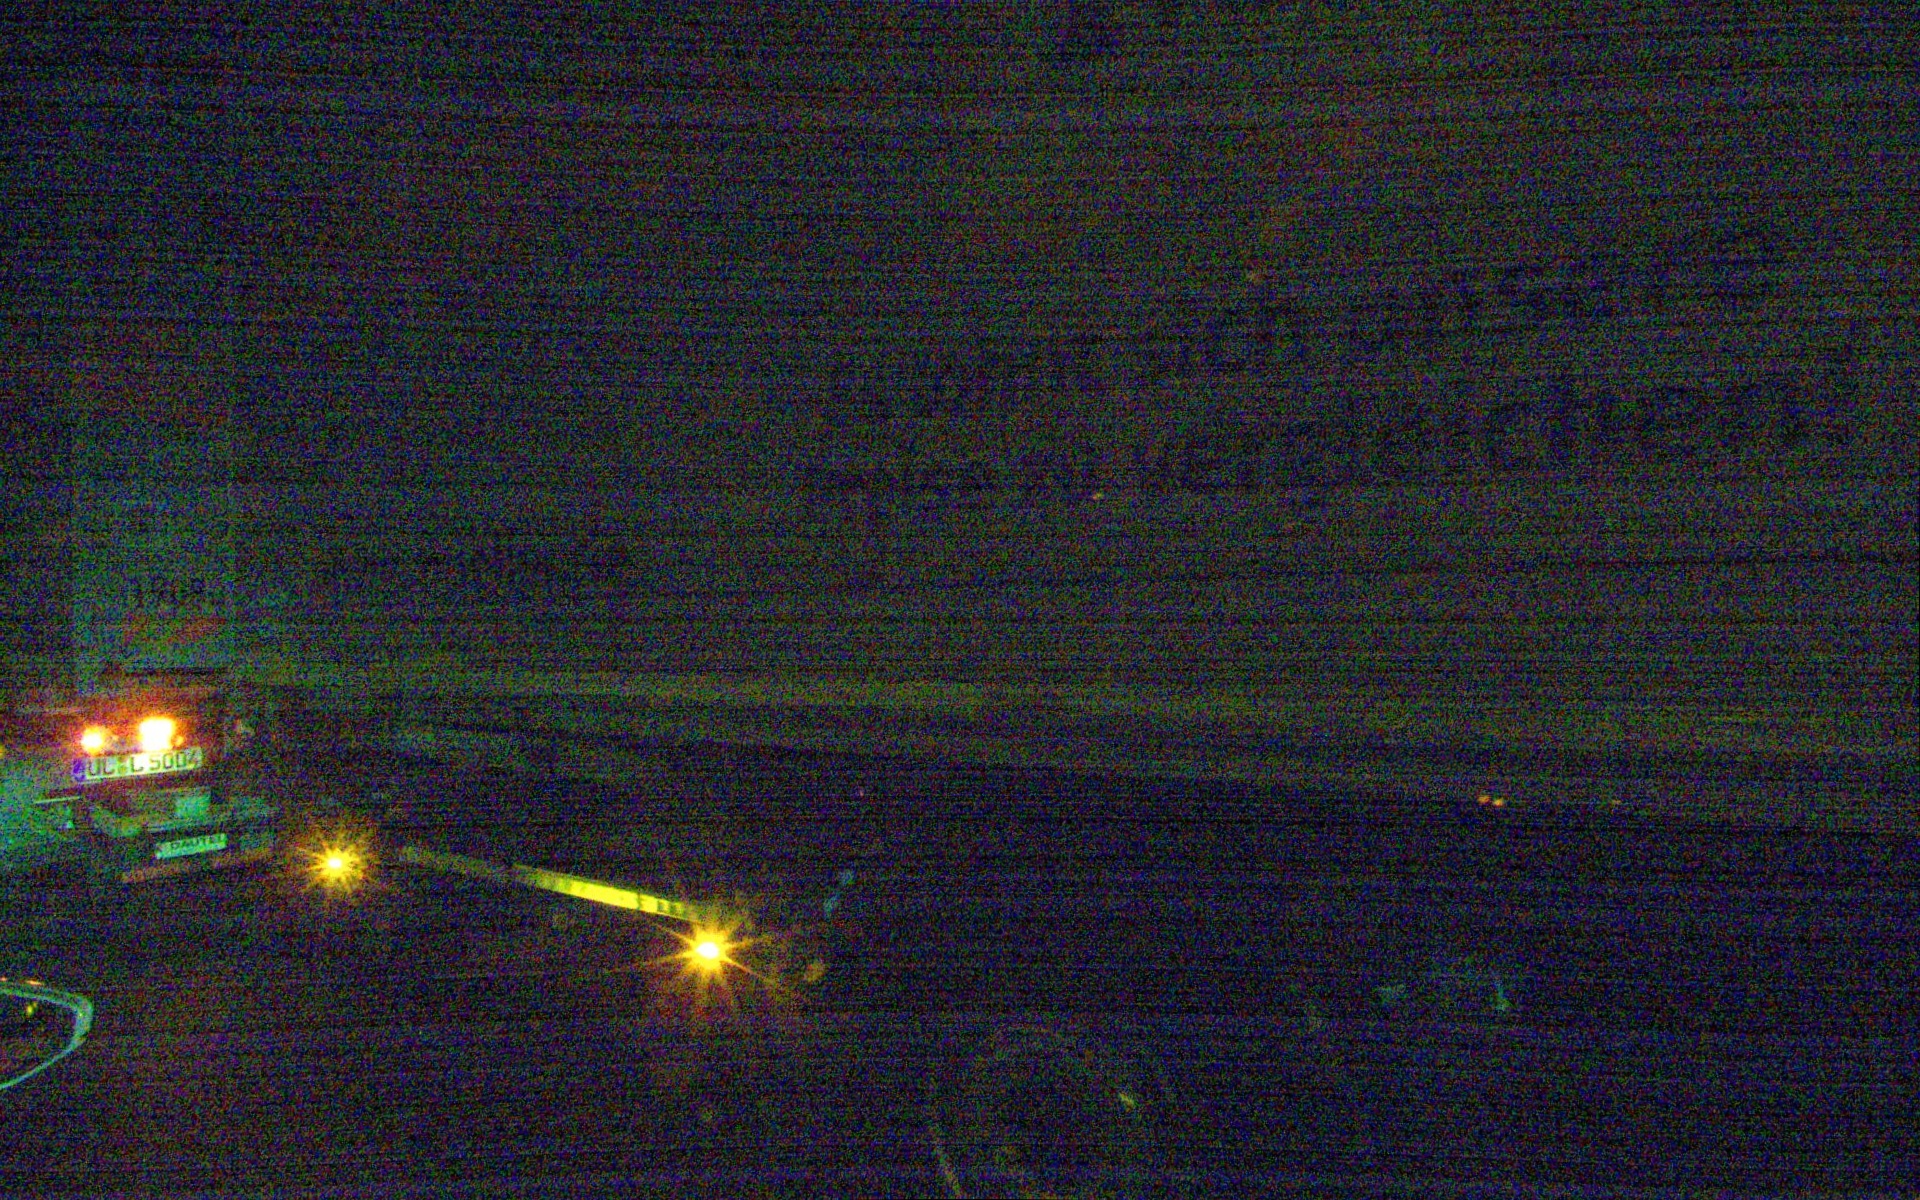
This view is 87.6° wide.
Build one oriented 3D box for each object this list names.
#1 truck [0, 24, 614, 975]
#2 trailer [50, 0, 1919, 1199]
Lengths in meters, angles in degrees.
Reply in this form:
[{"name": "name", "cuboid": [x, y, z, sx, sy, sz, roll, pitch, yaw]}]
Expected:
[{"name": "truck", "cuboid": [-7.182, -0.330, 7.988, 9.765, 3.964, 2.884, -1, -1, 32]}, {"name": "trailer", "cuboid": [0.673, -0.475, 3.003, 8.821, 3.908, 2.870, -1, -1, 33]}]
